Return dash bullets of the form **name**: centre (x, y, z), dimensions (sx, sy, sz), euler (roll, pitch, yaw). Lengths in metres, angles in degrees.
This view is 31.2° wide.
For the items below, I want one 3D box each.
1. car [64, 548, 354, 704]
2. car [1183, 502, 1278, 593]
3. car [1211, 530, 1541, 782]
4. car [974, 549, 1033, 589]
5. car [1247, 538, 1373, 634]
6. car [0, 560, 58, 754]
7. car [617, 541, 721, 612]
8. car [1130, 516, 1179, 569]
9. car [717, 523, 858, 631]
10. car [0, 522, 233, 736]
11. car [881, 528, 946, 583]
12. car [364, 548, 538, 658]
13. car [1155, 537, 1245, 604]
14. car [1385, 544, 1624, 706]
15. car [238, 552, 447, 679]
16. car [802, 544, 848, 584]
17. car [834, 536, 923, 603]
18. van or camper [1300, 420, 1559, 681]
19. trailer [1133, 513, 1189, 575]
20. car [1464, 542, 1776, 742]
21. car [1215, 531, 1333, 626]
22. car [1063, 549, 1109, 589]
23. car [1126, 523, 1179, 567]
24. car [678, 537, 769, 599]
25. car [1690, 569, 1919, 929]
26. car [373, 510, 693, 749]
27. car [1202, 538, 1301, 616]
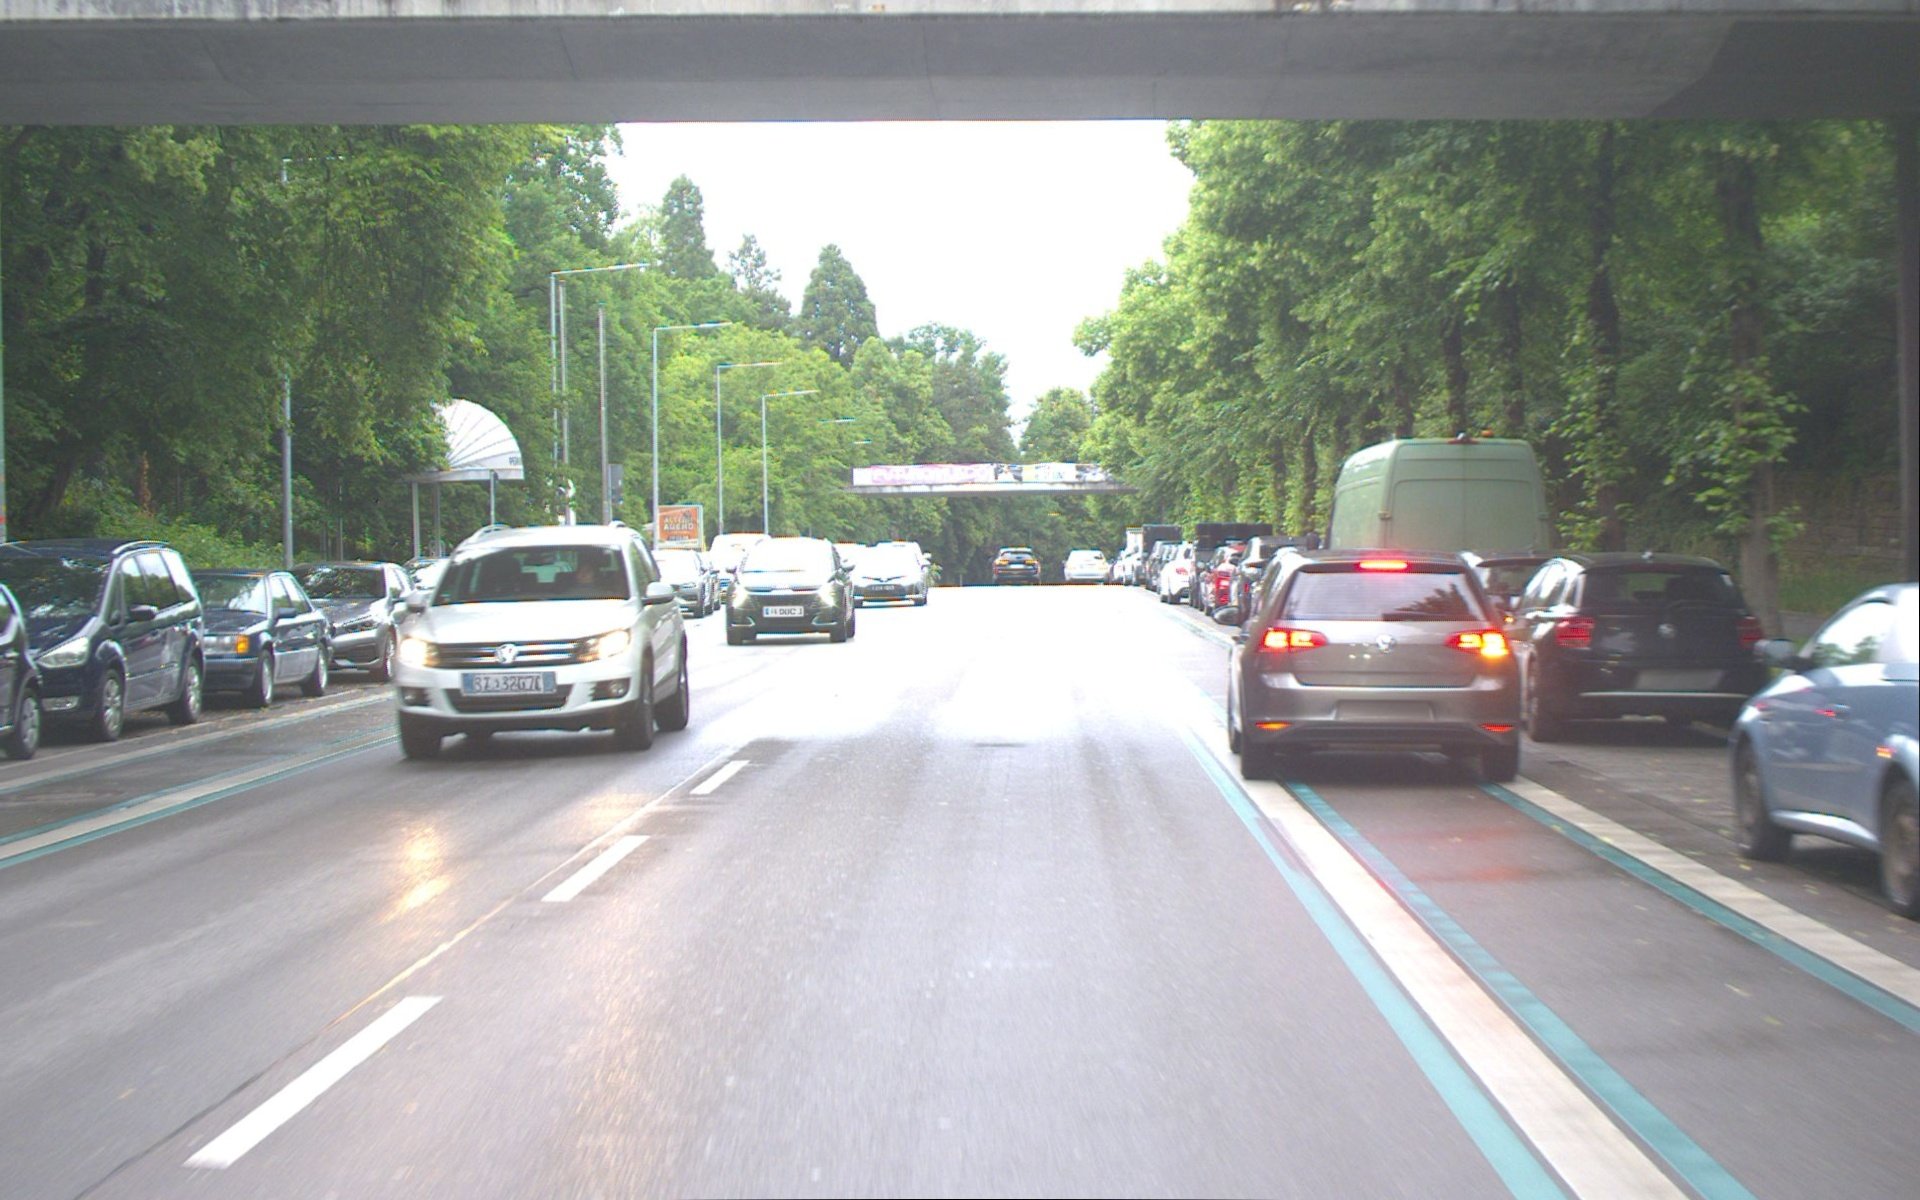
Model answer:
- **car**: centre (-7.880, 0.225, 36.535), dimensions (1.983, 1.467, 4.898), euler (0, 2, 0)
- **car**: centre (6.178, -1.219, 79.064), dimensions (1.926, 2.015, 4.663), euler (0, 1, 1)
- **car**: centre (2.639, 0.296, 22.648), dimensions (1.818, 1.503, 4.139), euler (0, 1, 2)
- **car**: centre (1.658, -1.198, 131.380), dimensions (2.140, 1.487, 4.499), euler (0, 1, -1)
- **car**: centre (5.604, -0.255, 55.444), dimensions (1.686, 1.451, 4.146), euler (1, 1, 1)
- **car**: centre (-8.053, 0.463, 25.502), dimensions (1.609, 1.434, 3.843), euler (-1, 2, 1)
- **car**: centre (-6.521, -0.546, 77.445), dimensions (2.077, 1.477, 4.674), euler (-1, 2, -2)
- **car**: centre (7.837, -2.328, 138.862), dimensions (1.889, 2.120, 4.045), euler (0, 1, 2)
- **car**: centre (-2.715, -0.399, 54.927), dimensions (1.966, 1.622, 4.321), euler (-1, 1, 1)
- **car**: centre (-8.042, 0.189, 30.803), dimensions (1.990, 1.736, 4.838), euler (-1, 2, 0)
- **car**: centre (-1.449, -1.420, 107.791), dimensions (1.795, 1.646, 4.129), euler (-2, 1, 2)
- **car**: centre (-7.351, 0.001, 50.048), dimensions (1.956, 1.458, 4.757), euler (0, 2, -2)
- **car**: centre (5.827, -0.739, 84.003), dimensions (1.789, 1.537, 4.890), euler (1, 1, -1)
- **car**: centre (5.061, 0.188, 32.400), dimensions (1.686, 1.411, 4.100), euler (1, 1, 1)
- **car**: centre (-7.609, 0.157, 42.738), dimensions (1.784, 1.418, 4.296), euler (-1, 2, 0)
- **car**: centre (-5.539, -1.484, 141.388), dimensions (1.870, 1.536, 4.055), euler (-1, 2, -2)
- **car**: centre (-1.940, -0.757, 83.252), dimensions (1.921, 1.555, 4.621), euler (1, 1, 1)
- **van or camper**: centre (5.296, -0.593, 39.734), dimensions (2.042, 2.720, 6.901), euler (1, 1, 0)
- **trailer**: centre (7.144, -1.983, 122.400), dimensions (1.884, 2.158, 3.808), euler (-1, 1, 2)
- **car**: centre (5.084, 0.270, 26.983), dimensions (1.686, 1.411, 4.197), euler (-1, 1, 1)
- **car**: centre (5.499, -0.408, 60.663), dimensions (1.756, 1.584, 4.498), euler (1, 1, 1)
- **car**: centre (5.107, -1.274, 139.753), dimensions (1.731, 1.578, 4.036), euler (-1, 1, 1)
- **car**: centre (7.073, -2.030, 126.674), dimensions (1.731, 1.578, 4.155), euler (-1, 1, 1)
- **car**: centre (-6.598, -0.926, 96.563), dimensions (1.990, 1.600, 4.984), euler (-1, 2, 2)
- **car**: centre (4.483, 0.577, 15.215), dimensions (1.584, 1.348, 3.863), euler (1, 1, -1)
- **car**: centre (-3.132, 0.159, 25.976), dimensions (1.834, 1.660, 4.181), euler (0, 1, 1)
- **car**: centre (5.759, -0.484, 68.231), dimensions (1.686, 1.448, 4.165), euler (1, 1, 1)
